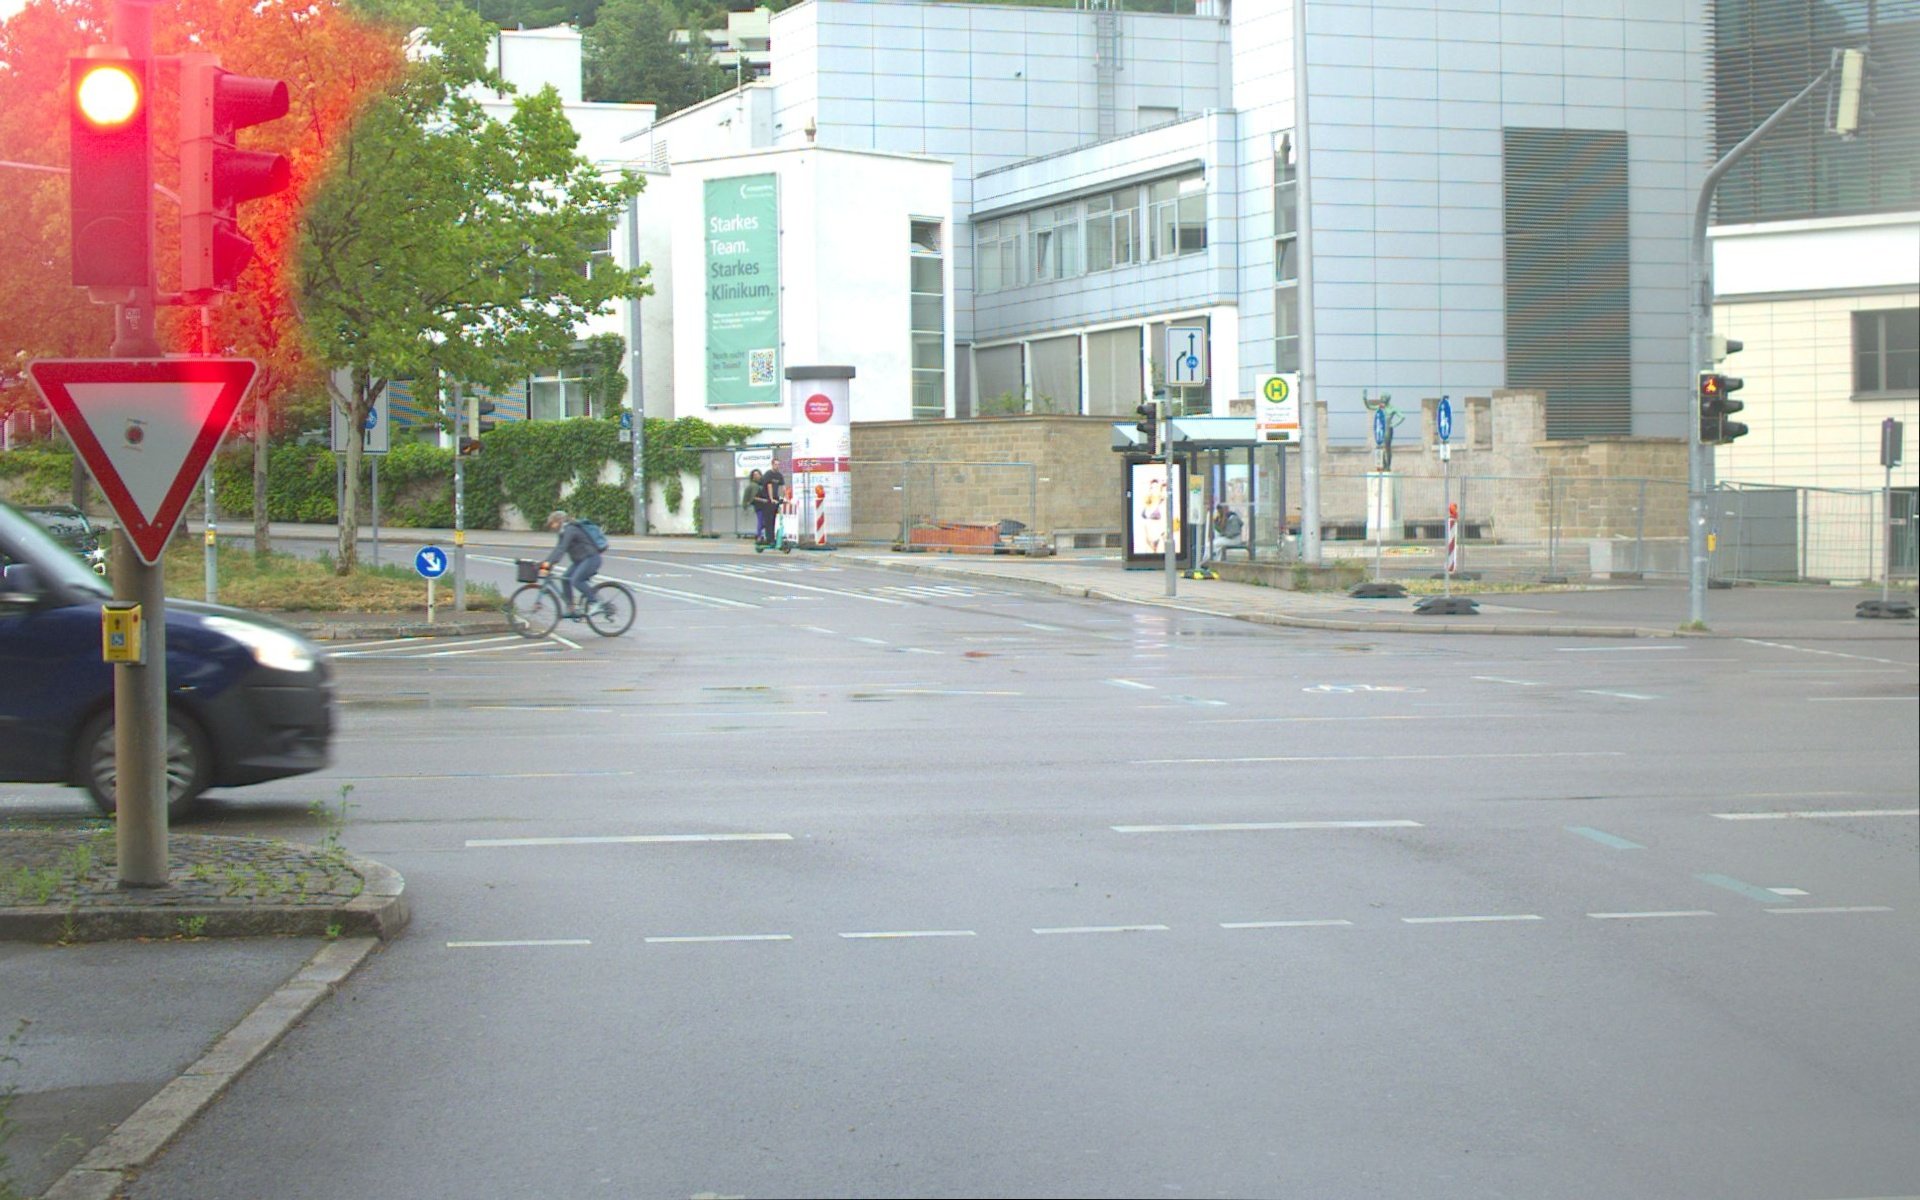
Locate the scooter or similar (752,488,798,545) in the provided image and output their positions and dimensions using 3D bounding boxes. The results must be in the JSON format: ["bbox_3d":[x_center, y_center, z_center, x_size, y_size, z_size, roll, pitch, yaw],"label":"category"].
[{"bbox_3d":[-4.097,-1.841,76.132,0.591,1.234,1.314,1,0,-22],"label":"scooter or similar"}]

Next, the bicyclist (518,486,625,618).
[{"bbox_3d":[-4.899,-0.604,43.394,1.125,1.627,0.702,1,0,-31],"label":"bicyclist"}]

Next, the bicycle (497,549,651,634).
[{"bbox_3d":[-4.870,-0.112,43.422,1.815,1.053,0.648,0,1,-31],"label":"bicycle"}]

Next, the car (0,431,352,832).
[{"bbox_3d":[-5.277,0.120,17.152,4.294,1.901,1.798,0,2,-6],"label":"car"}]

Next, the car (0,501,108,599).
[{"bbox_3d":[-15.677,-0.878,58.393,1.788,1.579,4.001,-1,2,-22],"label":"car"}]

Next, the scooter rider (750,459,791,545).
[{"bbox_3d":[-4.197,-2.170,76.116,0.723,1.877,0.632,1,0,-20],"label":"scooter rider"}]

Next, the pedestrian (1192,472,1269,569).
[{"bbox_3d":[4.913,-1.434,62.419,1.257,1.713,1.016,1,0,-2],"label":"pedestrian"}]
